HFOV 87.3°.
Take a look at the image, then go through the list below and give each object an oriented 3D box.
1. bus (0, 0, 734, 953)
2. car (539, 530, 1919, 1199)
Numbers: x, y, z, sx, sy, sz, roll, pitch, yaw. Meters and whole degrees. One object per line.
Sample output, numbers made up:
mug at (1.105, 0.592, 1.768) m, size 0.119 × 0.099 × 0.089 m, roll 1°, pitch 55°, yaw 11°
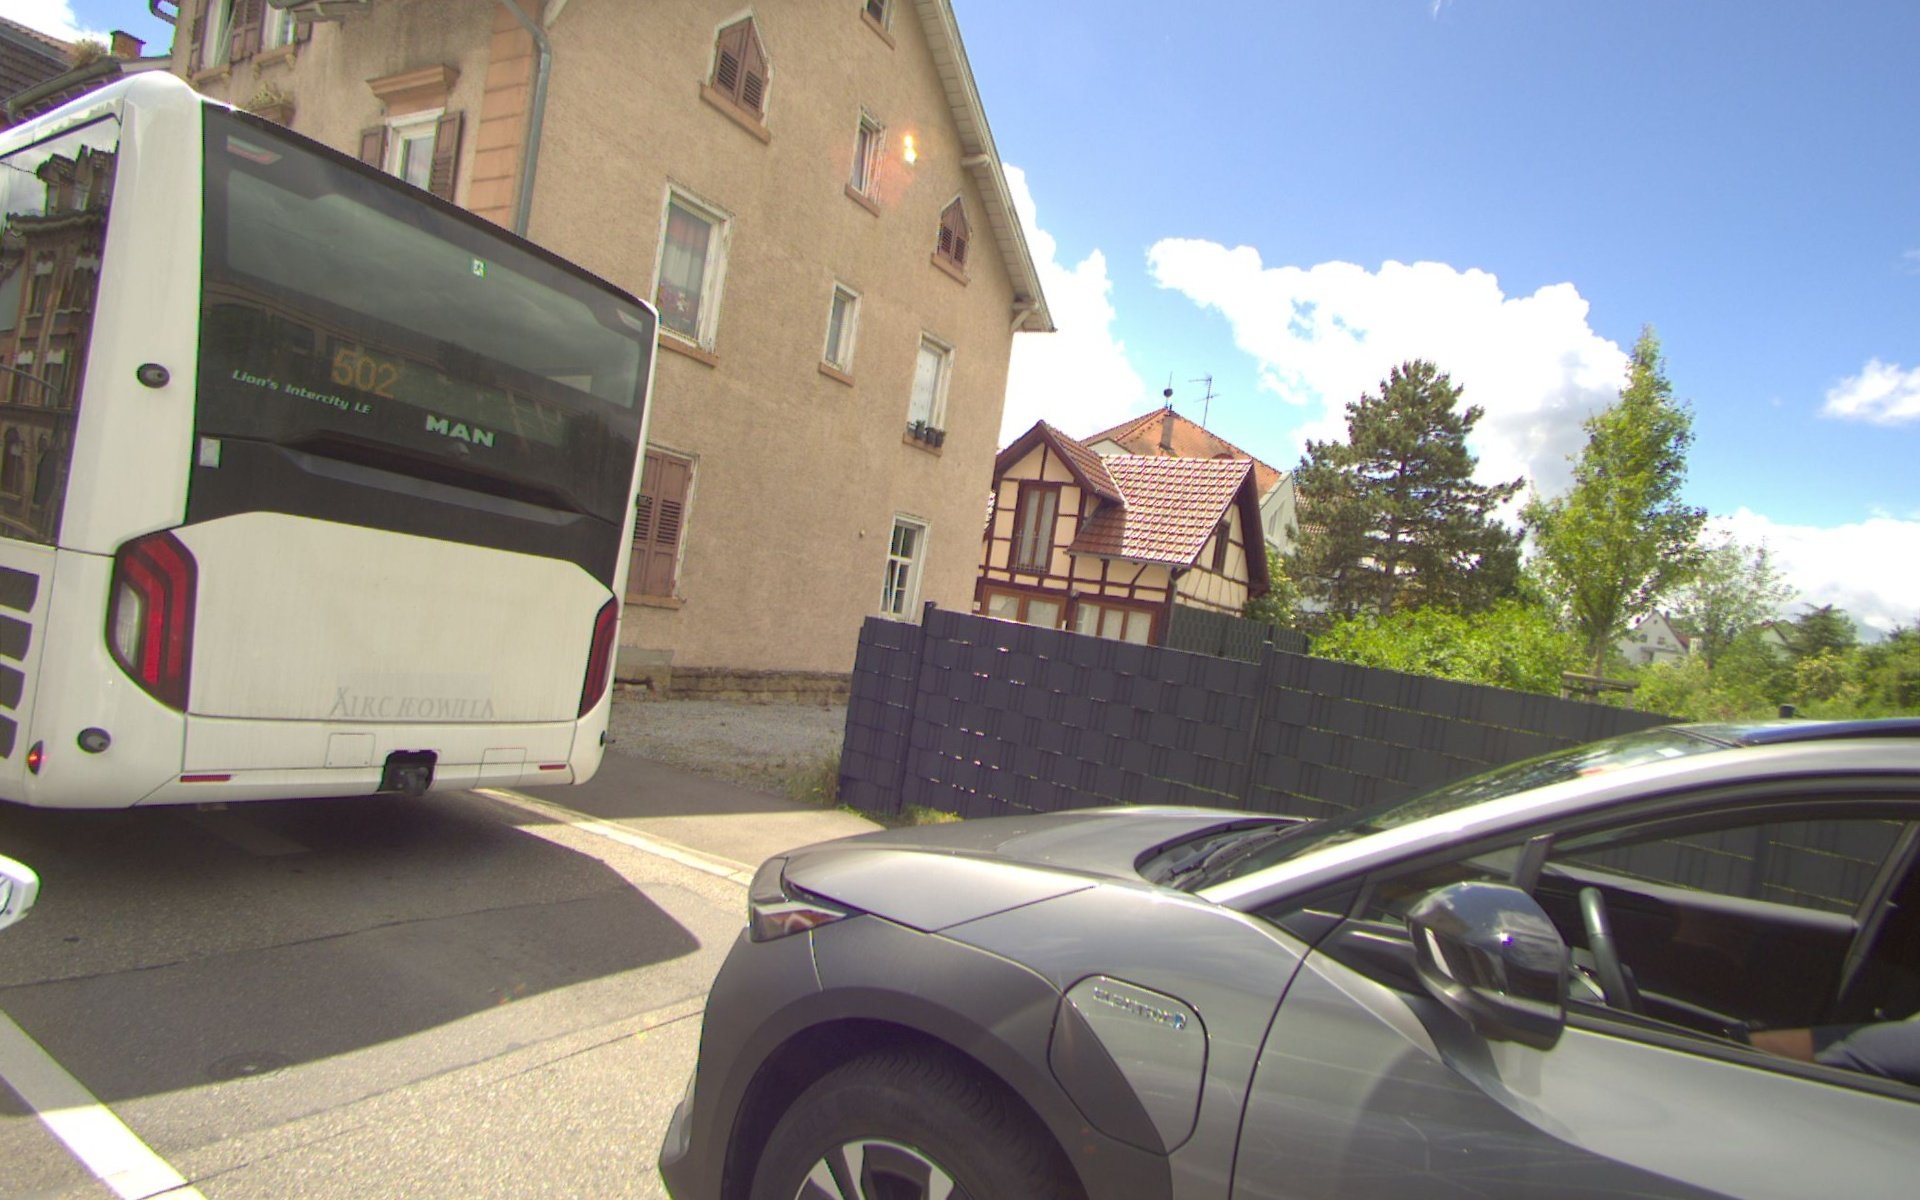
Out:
bus at (-7.448, -1.012, 7.780) m, size 12.281 × 3.551 × 2.910 m, roll 6°, pitch -2°, yaw 32°
car at (1.580, 0.979, 1.862) m, size 4.504 × 1.648 × 1.997 m, roll 7°, pitch -1°, yaw 31°
